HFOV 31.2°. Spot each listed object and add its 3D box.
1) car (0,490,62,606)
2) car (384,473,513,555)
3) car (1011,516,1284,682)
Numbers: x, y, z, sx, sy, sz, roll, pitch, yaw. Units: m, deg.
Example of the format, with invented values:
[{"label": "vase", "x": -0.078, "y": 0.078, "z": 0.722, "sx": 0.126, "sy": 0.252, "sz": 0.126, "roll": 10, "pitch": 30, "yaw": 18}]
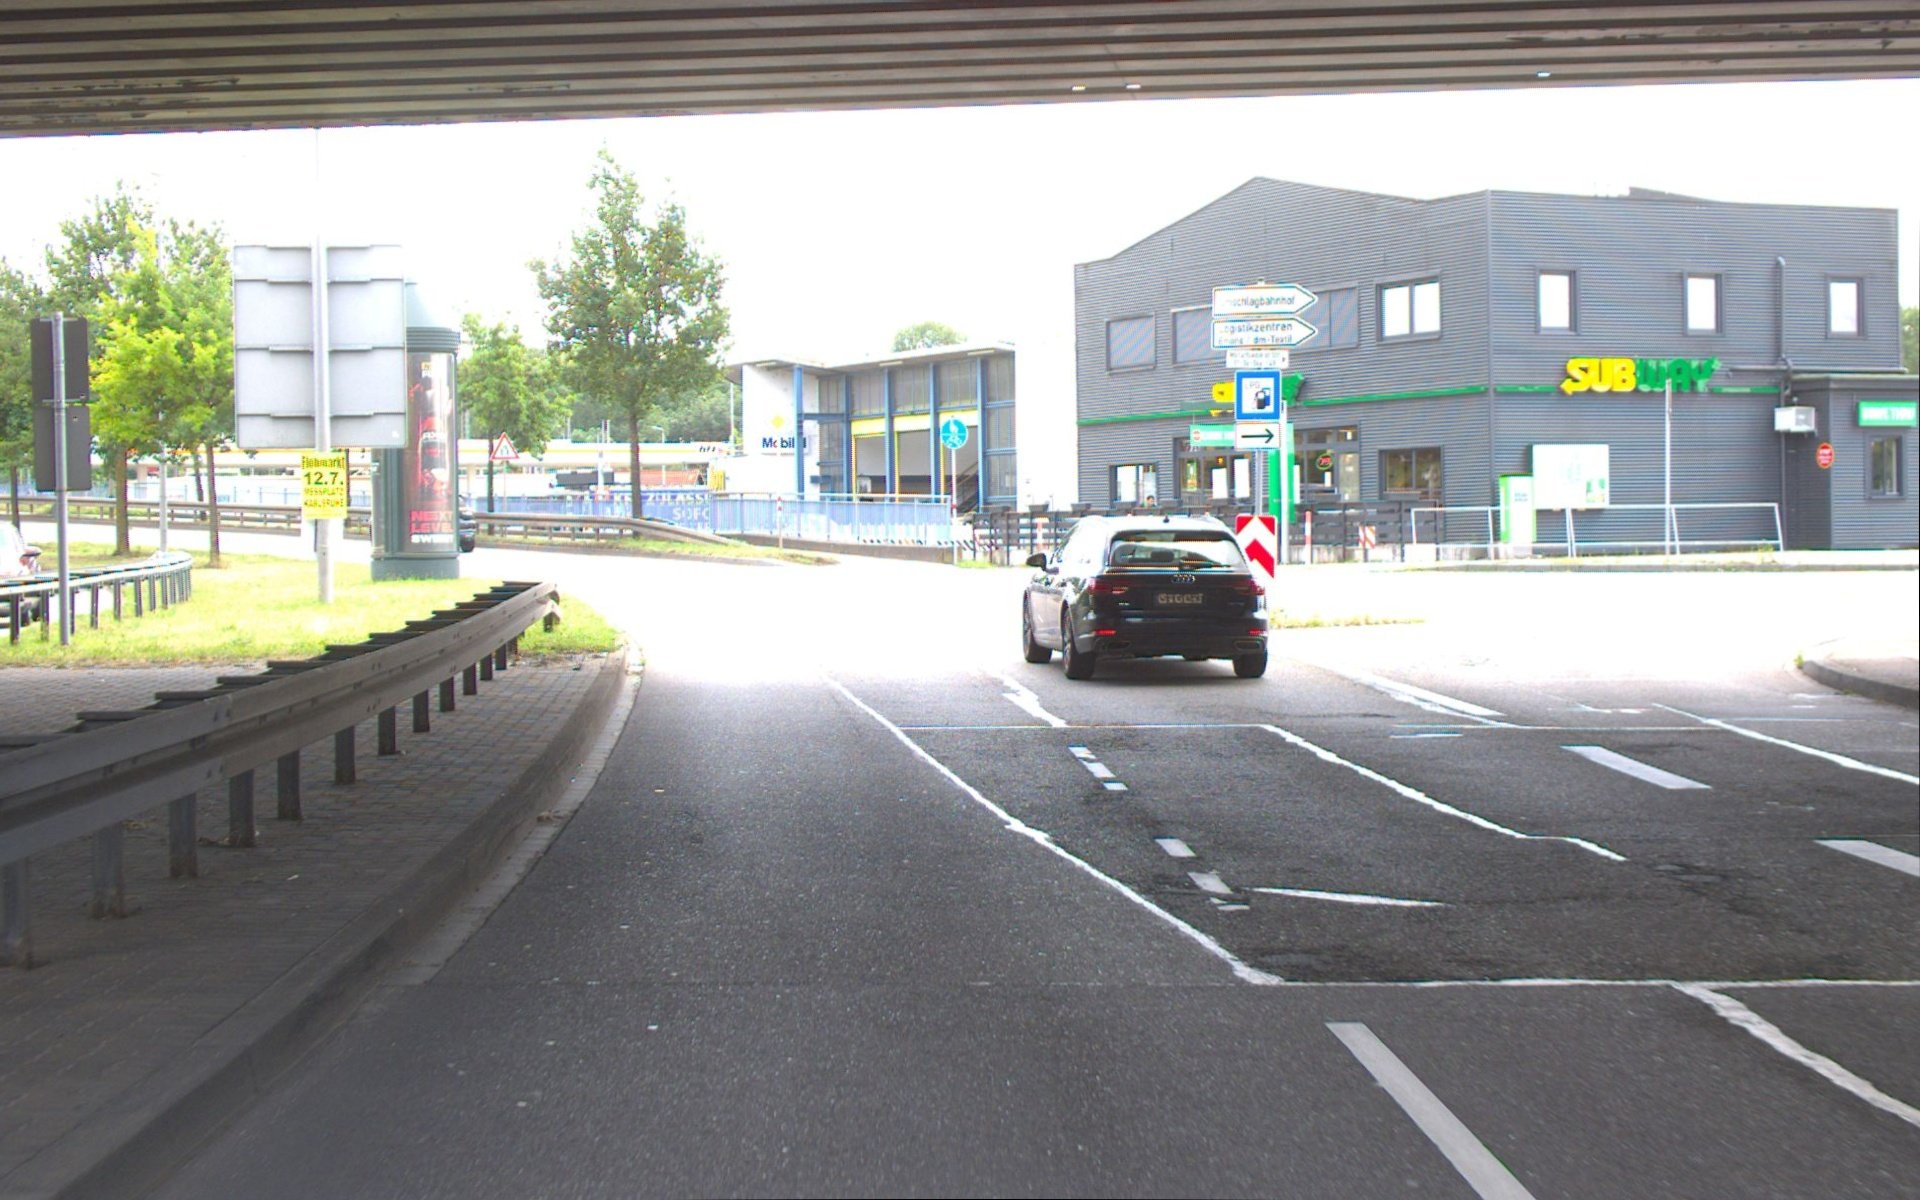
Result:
[{"label": "car", "x": -14.830, "y": -0.770, "z": 51.618, "sx": 1.993, "sy": 1.669, "sz": 4.324, "roll": -1, "pitch": 1, "yaw": -7}, {"label": "car", "x": -13.344, "y": -2.214, "z": 89.489, "sx": 1.993, "sy": 2.030, "sz": 4.714, "roll": -2, "pitch": 1, "yaw": -25}, {"label": "car", "x": 1.645, "y": -0.066, "z": 31.842, "sx": 1.993, "sy": 1.385, "sz": 4.576, "roll": 0, "pitch": 2, "yaw": -4}]
